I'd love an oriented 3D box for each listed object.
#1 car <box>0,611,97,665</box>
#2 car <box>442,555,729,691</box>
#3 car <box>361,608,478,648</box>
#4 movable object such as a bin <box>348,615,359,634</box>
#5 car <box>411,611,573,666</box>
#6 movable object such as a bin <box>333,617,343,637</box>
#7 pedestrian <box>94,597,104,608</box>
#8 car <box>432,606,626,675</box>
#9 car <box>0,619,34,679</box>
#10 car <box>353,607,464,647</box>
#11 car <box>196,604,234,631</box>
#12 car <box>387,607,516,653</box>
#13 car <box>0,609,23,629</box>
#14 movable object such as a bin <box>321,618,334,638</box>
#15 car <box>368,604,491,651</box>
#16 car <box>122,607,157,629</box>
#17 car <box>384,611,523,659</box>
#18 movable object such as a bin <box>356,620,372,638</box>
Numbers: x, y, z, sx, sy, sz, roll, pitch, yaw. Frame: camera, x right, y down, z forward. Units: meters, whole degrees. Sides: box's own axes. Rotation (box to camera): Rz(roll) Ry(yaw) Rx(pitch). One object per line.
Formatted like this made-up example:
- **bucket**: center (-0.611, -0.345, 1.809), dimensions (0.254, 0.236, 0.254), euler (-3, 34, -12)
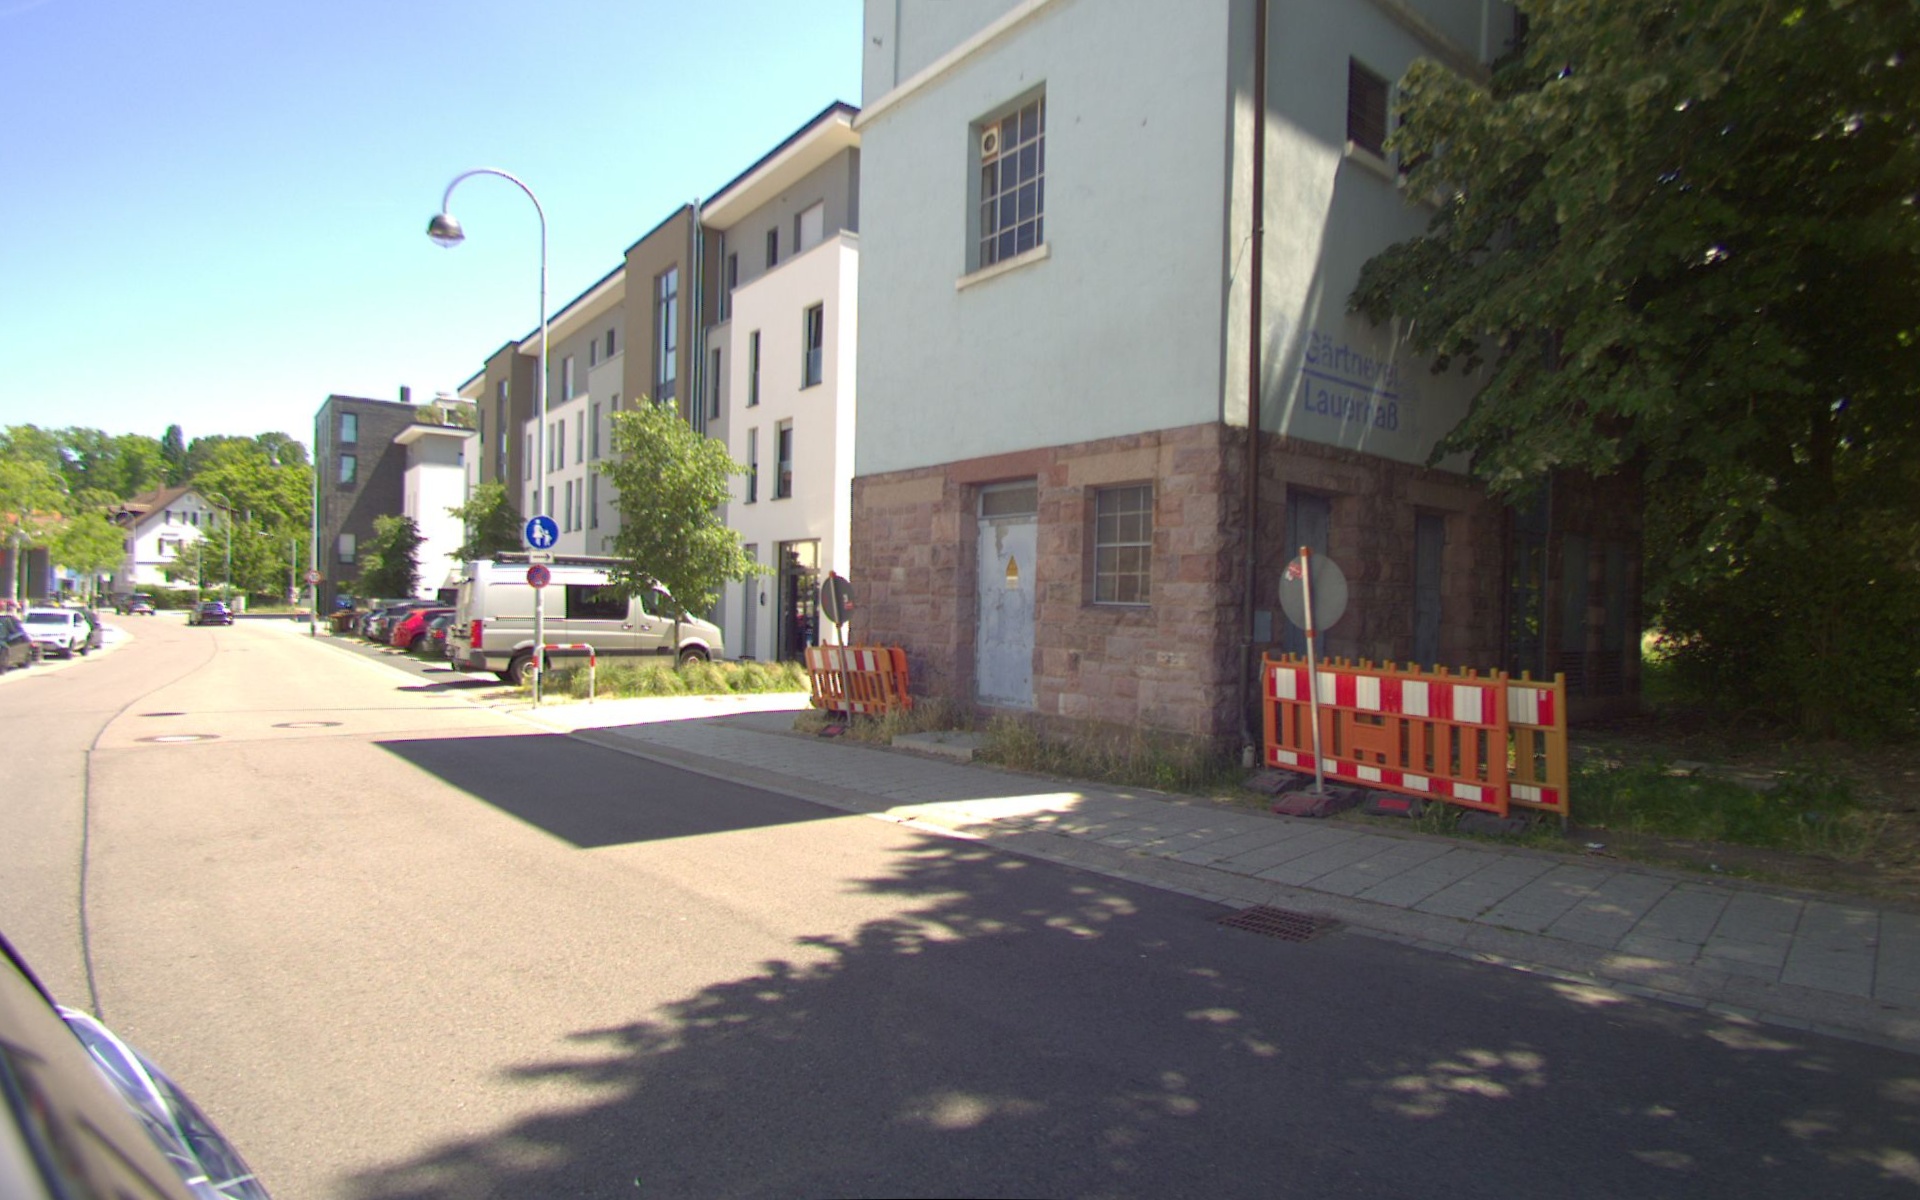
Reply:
- **car**: center (-28.835, 1.160, 32.002), dimensions (1.713, 1.497, 4.066), euler (4, -2, -32)
- **car**: center (-8.415, 0.417, 23.037), dimensions (5.692, 2.753, 2.297), euler (-1, 1, -37)
- **car**: center (-21.955, 1.113, 41.150), dimensions (3.935, 1.432, 1.914), euler (-1, 1, -37)
- **movable object such as a bin**: center (-31.501, 1.264, 52.560), dimensions (0.398, 1.005, 0.557), euler (1, 0, -39)
- **car**: center (-14.375, 1.129, 31.204), dimensions (4.148, 1.448, 1.888), euler (-1, 1, -42)
- **movable object such as a bin**: center (-32.020, 1.404, 52.105), dimensions (0.398, 1.005, 0.557), euler (1, 0, -39)
- **pedestrian**: center (-84.884, 0.282, 99.743), dimensions (0.565, 1.067, 0.592), euler (1, 0, 32)
- **car**: center (-11.435, 1.011, 26.995), dimensions (4.396, 1.603, 2.004), euler (-1, 1, -38)
- **car**: center (-24.827, 1.197, 25.301), dimensions (1.701, 1.416, 4.621), euler (2, -2, -33)
- **car**: center (-23.591, 1.108, 43.348), dimensions (3.934, 1.527, 2.005), euler (-1, 1, -36)
- **car**: center (-46.390, 1.056, 62.971), dimensions (1.869, 1.565, 4.809), euler (-1, 0, -37)
- **car**: center (-18.573, 1.054, 37.007), dimensions (3.979, 1.508, 2.005), euler (-1, 1, -35)
- **car**: center (-74.238, 1.504, 78.827), dimensions (3.388, 1.525, 1.660), euler (-1, -1, 44)
- **movable object such as a bin**: center (-32.372, 1.410, 51.804), dimensions (0.477, 1.005, 0.589), euler (1, 0, -39)
- **car**: center (-20.461, 1.021, 39.064), dimensions (3.979, 1.663, 2.005), euler (-1, 1, -35)
- **car**: center (-63.660, 1.383, 78.532), dimensions (1.789, 1.714, 4.079), euler (0, -1, -44)
- **car**: center (-17.316, 1.142, 34.650), dimensions (3.979, 1.441, 2.005), euler (-1, 1, -35)
- **movable object such as a bin**: center (-29.226, 1.433, 49.633), dimensions (0.481, 0.874, 0.549), euler (0, 0, 35)
